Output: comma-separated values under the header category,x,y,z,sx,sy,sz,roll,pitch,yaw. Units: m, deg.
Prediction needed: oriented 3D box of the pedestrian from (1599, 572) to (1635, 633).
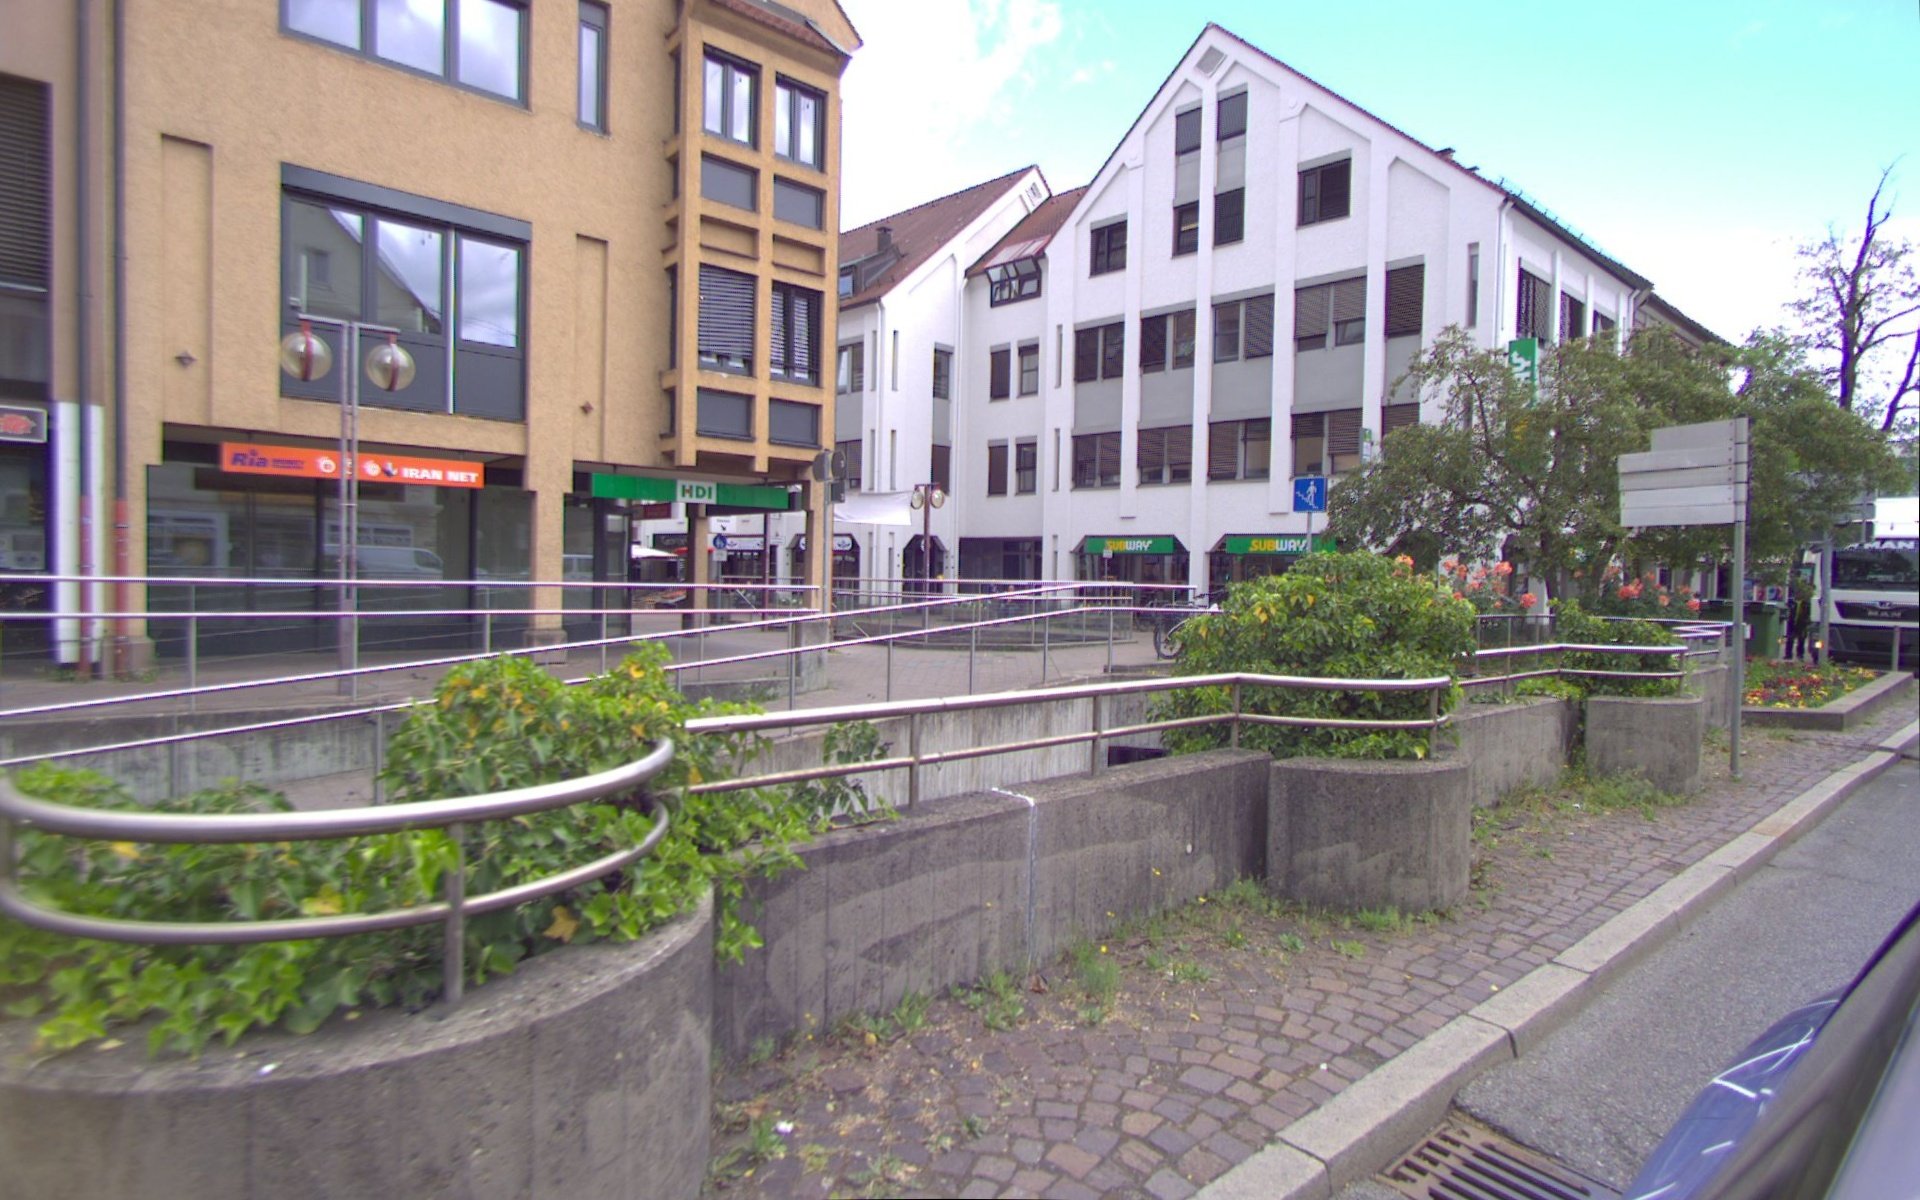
category,x,y,z,sx,sy,sz,roll,pitch,yaw
pedestrian,17.786,0.058,27.389,0.732,1.622,0.573,1,1,-40

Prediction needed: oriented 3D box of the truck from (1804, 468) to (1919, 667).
category,x,y,z,sx,sy,sz,roll,pitch,yaw
truck,20.805,-0.587,21.678,9.596,3.605,2.693,0,2,-42

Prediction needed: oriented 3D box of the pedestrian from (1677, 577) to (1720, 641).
category,x,y,z,sx,sy,sz,roll,pitch,yaw
pedestrian,19.407,0.221,26.611,0.737,1.622,0.570,2,1,21

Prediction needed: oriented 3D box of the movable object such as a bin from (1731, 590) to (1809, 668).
category,x,y,z,sx,sy,sz,roll,pitch,yaw
movable object such as a bin,14.964,0.519,18.697,1.066,1.356,0.884,0,2,-39

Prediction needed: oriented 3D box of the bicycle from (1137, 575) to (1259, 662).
category,x,y,z,sx,sy,sz,roll,pitch,yaw
bicycle,4.003,0.280,17.118,0.829,1.343,1.818,0,2,-44

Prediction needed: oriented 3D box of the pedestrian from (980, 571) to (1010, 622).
category,x,y,z,sx,sy,sz,roll,pitch,yaw
pedestrian,1.048,-0.113,30.095,0.610,1.494,0.606,0,2,-45

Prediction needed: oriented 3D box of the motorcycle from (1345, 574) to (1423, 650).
category,x,y,z,sx,sy,sz,roll,pitch,yaw
motorcycle,8.629,0.223,20.548,1.913,1.456,0.721,0,1,-43

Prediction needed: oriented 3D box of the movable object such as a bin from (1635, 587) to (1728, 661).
category,x,y,z,sx,sy,sz,roll,pitch,yaw
movable object such as a bin,14.202,0.449,19.922,1.351,1.356,1.146,0,2,-39

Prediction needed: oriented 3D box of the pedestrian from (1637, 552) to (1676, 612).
category,x,y,z,sx,sy,sz,roll,pitch,yaw
pedestrian,19.407,-0.504,28.208,0.564,1.622,0.744,0,1,-43

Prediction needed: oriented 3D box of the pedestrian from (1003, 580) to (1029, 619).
category,x,y,z,sx,sy,sz,roll,pitch,yaw
pedestrian,1.744,-0.018,31.677,0.504,1.215,0.619,0,1,-43

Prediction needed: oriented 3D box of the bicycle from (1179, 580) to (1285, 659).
category,x,y,z,sx,sy,sz,roll,pitch,yaw
bicycle,4.720,0.319,17.632,0.658,1.274,1.676,0,2,-44
